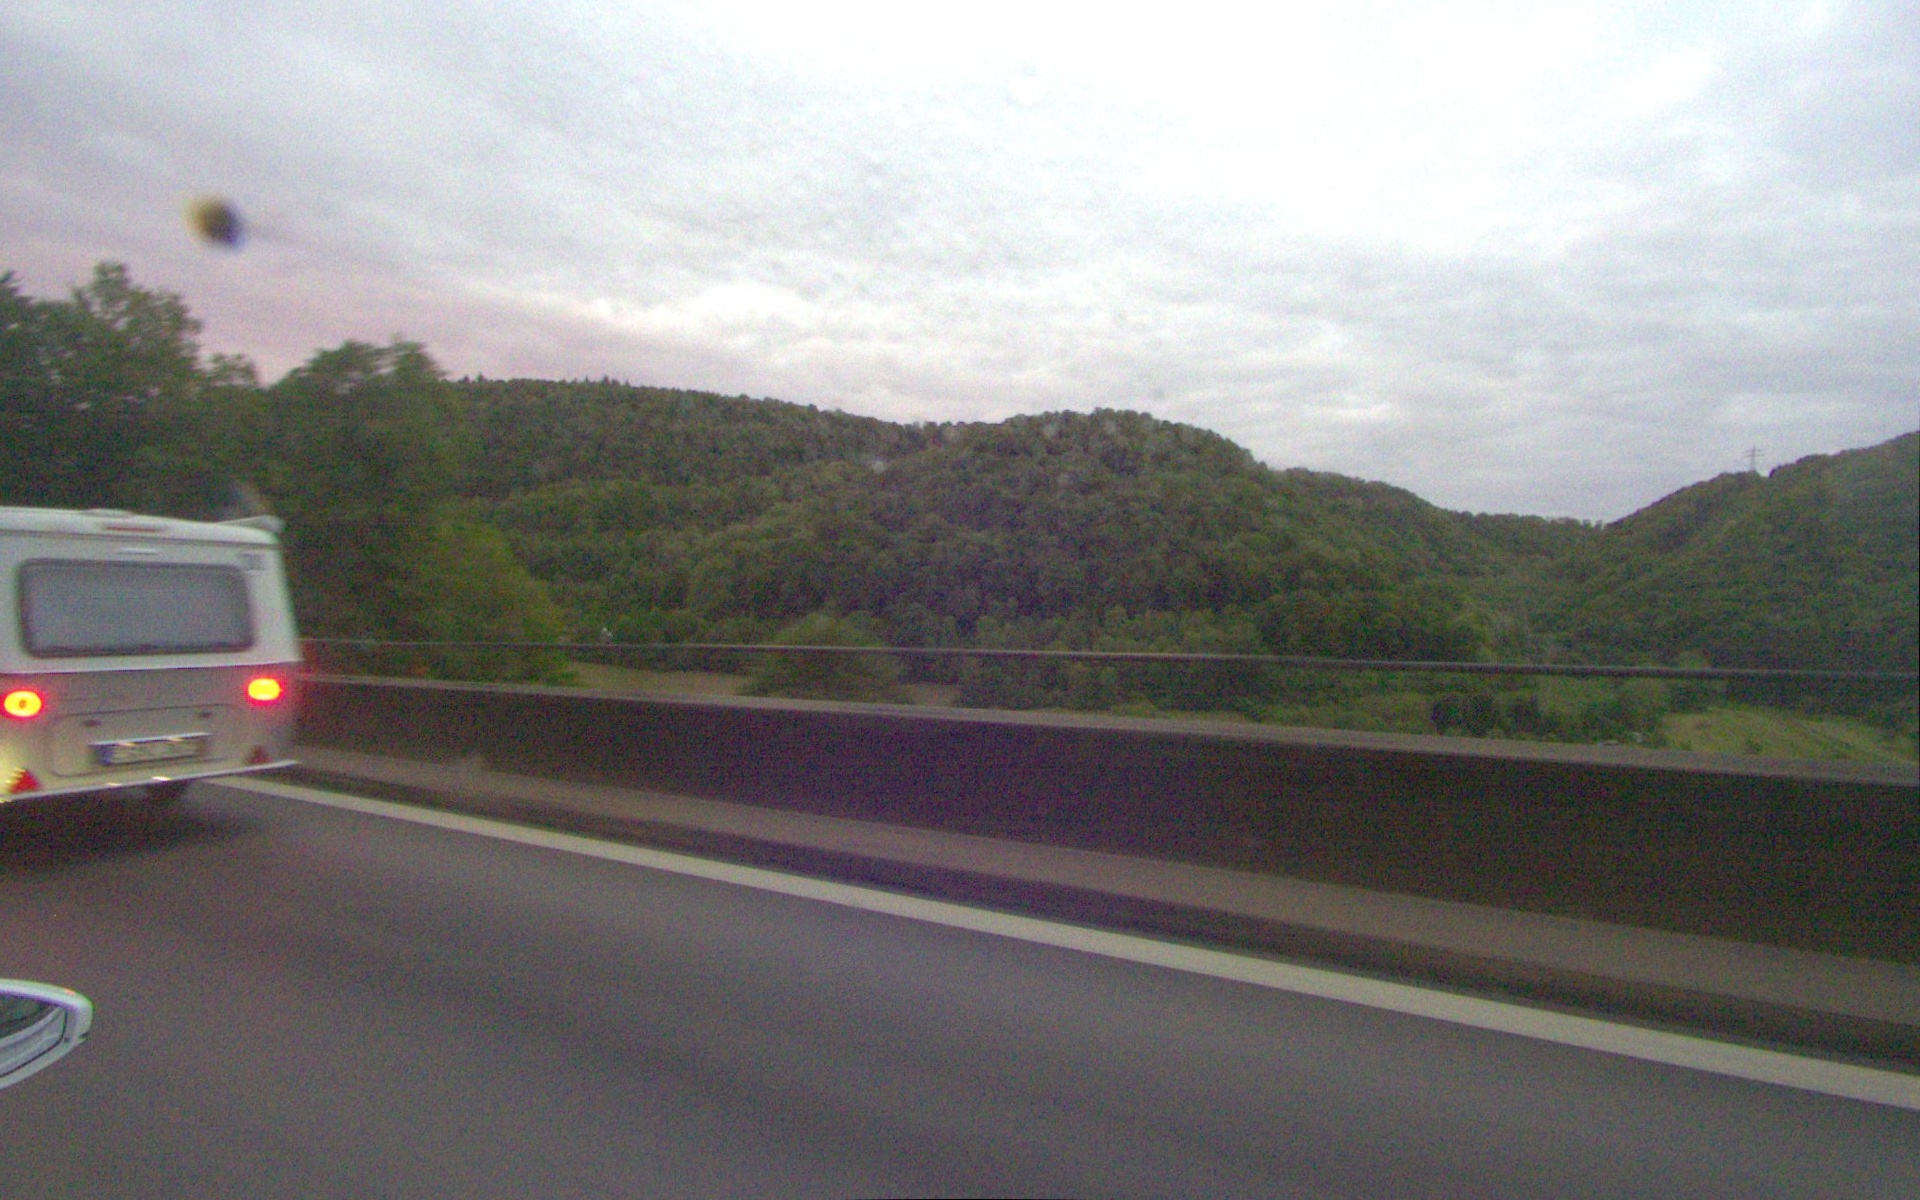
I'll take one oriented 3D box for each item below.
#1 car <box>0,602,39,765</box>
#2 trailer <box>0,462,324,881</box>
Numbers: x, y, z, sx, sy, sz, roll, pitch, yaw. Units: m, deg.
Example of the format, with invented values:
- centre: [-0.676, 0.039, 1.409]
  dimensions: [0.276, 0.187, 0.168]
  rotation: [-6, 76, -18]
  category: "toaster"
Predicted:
- centre: [-12.076, 0.883, 10.742]
  dimensions: [4.794, 1.636, 1.990]
  rotation: [-1, 0, 31]
  category: "car"
- centre: [-7.621, 0.443, 7.905]
  dimensions: [5.852, 2.406, 2.050]
  rotation: [-1, 0, 32]
  category: "trailer"
